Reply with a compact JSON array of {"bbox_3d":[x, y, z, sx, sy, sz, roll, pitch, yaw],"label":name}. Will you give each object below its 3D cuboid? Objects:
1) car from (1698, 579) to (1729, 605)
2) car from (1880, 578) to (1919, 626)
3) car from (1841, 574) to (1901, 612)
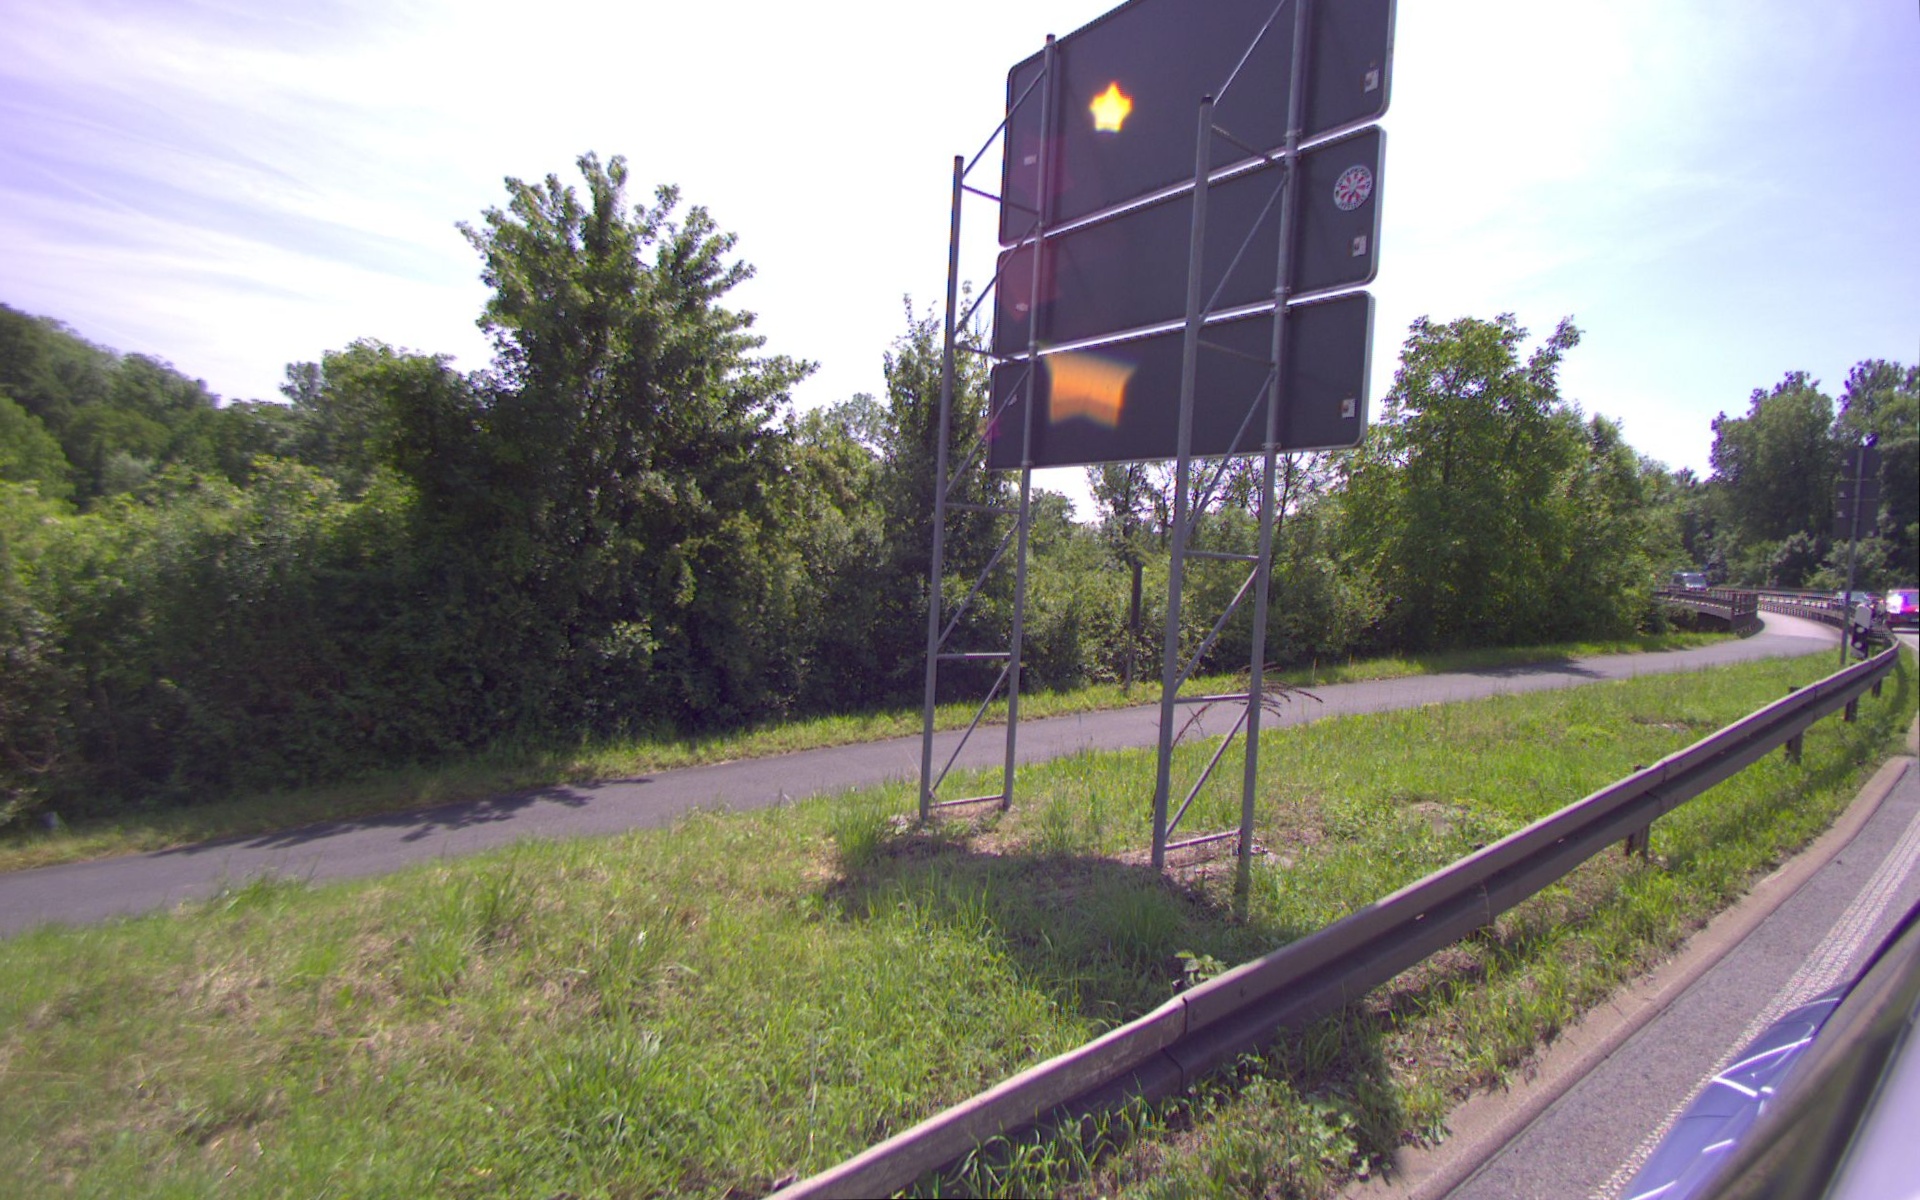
[{"bbox_3d":[75.624,-0.832,101.639,1.984,2.516,4.806,-1,1,31],"label":"car"},{"bbox_3d":[36.926,0.076,38.839,1.988,1.798,3.947,0,0,37],"label":"car"},{"bbox_3d":[50.880,-0.423,56.614,1.987,2.039,3.951,-1,1,35],"label":"car"}]
